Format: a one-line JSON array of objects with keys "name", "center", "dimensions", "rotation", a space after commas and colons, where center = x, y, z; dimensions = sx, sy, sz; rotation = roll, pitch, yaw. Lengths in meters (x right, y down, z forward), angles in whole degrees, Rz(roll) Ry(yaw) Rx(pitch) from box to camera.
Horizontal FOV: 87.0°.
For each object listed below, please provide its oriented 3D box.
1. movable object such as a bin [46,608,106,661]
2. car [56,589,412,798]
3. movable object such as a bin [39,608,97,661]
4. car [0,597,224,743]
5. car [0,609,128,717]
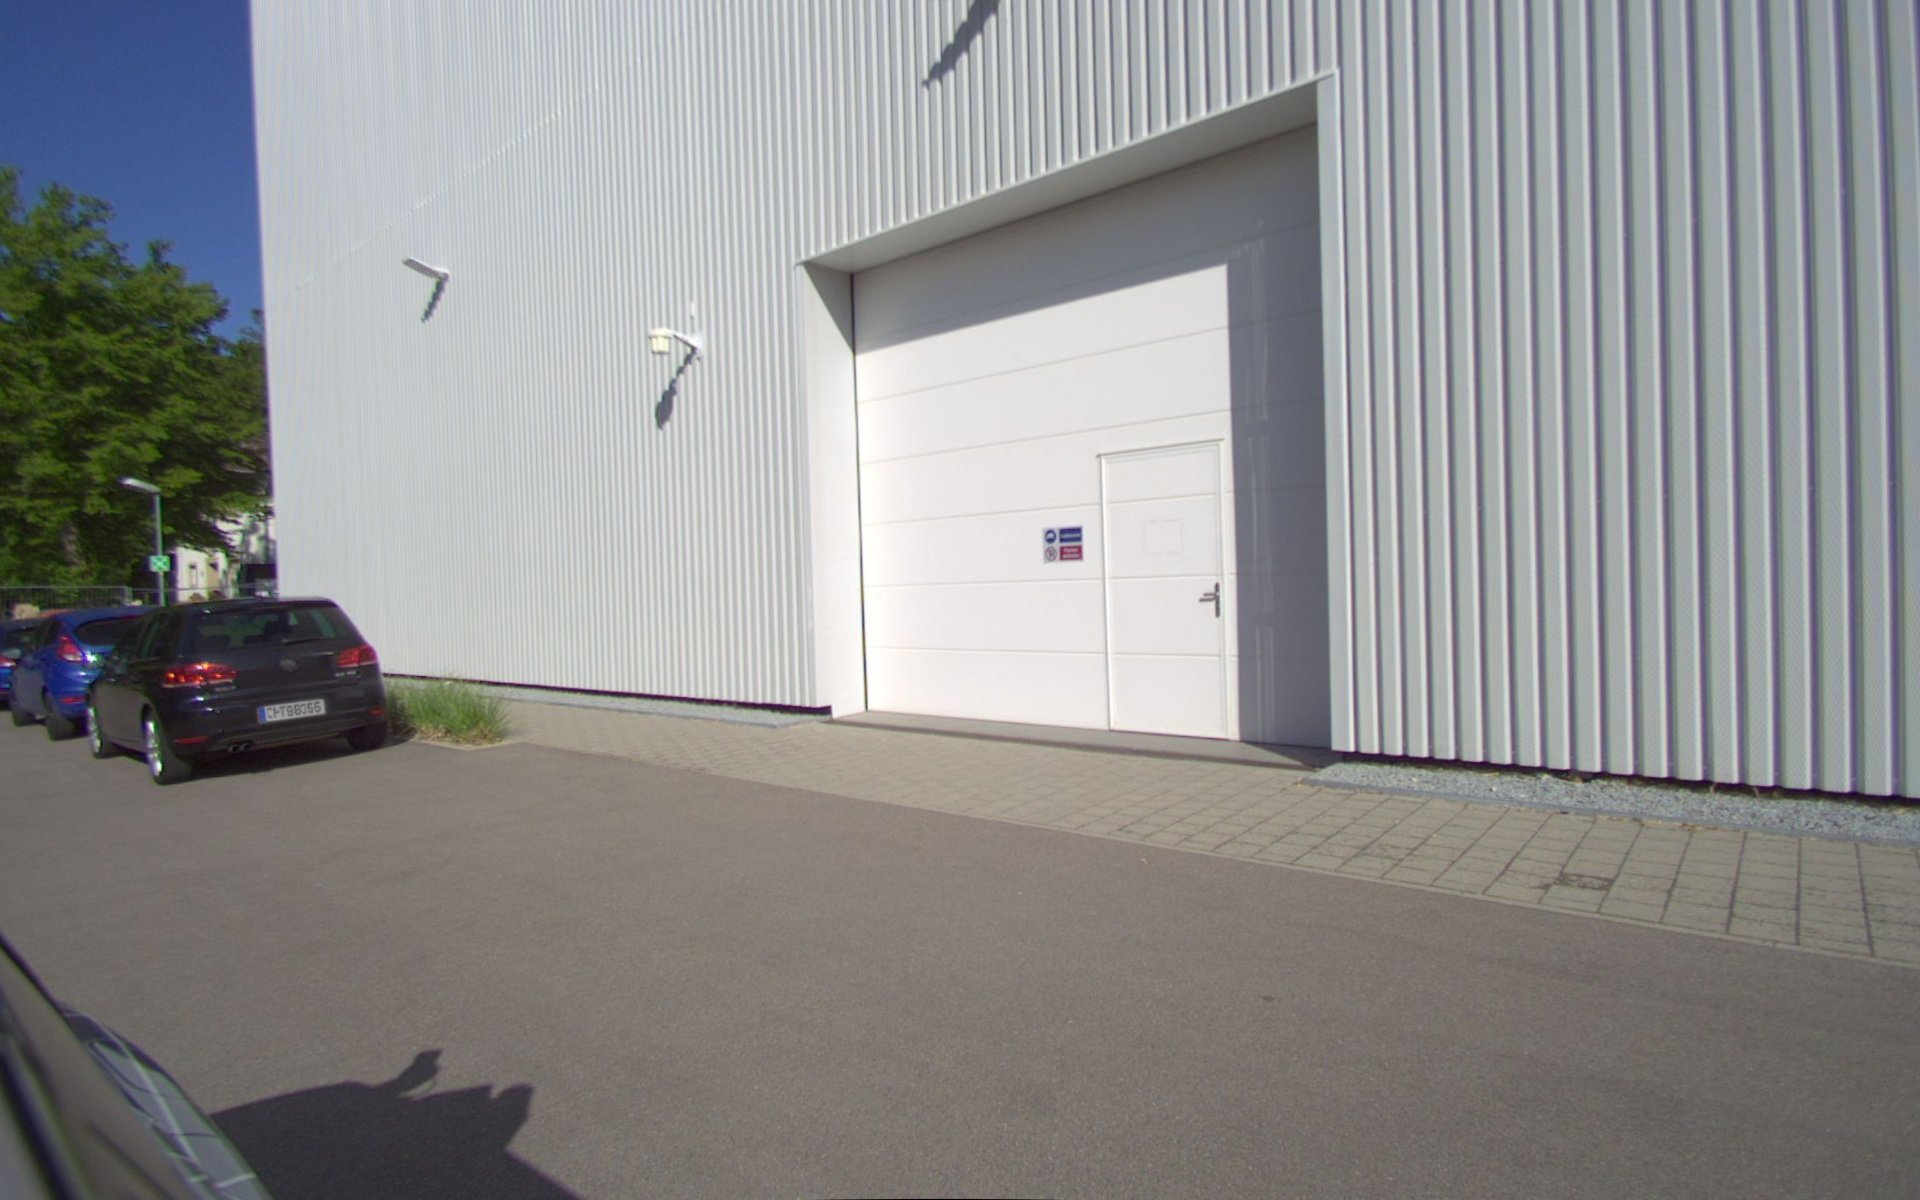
[{"name": "movable object such as a bin", "center": [-25.010, 0.966, 28.639], "dimensions": [1.288, 1.445, 1.126], "rotation": [-2, -1, 41]}, {"name": "car", "center": [-7.066, 0.754, 9.675], "dimensions": [4.312, 1.456, 1.739], "rotation": [-2, 3, 41]}, {"name": "movable object such as a bin", "center": [-26.031, 0.996, 29.540], "dimensions": [1.279, 1.489, 1.126], "rotation": [-3, -2, 41]}, {"name": "car", "center": [-10.709, 0.804, 12.628], "dimensions": [3.518, 1.499, 1.533], "rotation": [-2, 2, 39]}, {"name": "car", "center": [-14.914, 0.965, 16.180], "dimensions": [3.794, 1.459, 1.695], "rotation": [-2, 2, 39]}]
